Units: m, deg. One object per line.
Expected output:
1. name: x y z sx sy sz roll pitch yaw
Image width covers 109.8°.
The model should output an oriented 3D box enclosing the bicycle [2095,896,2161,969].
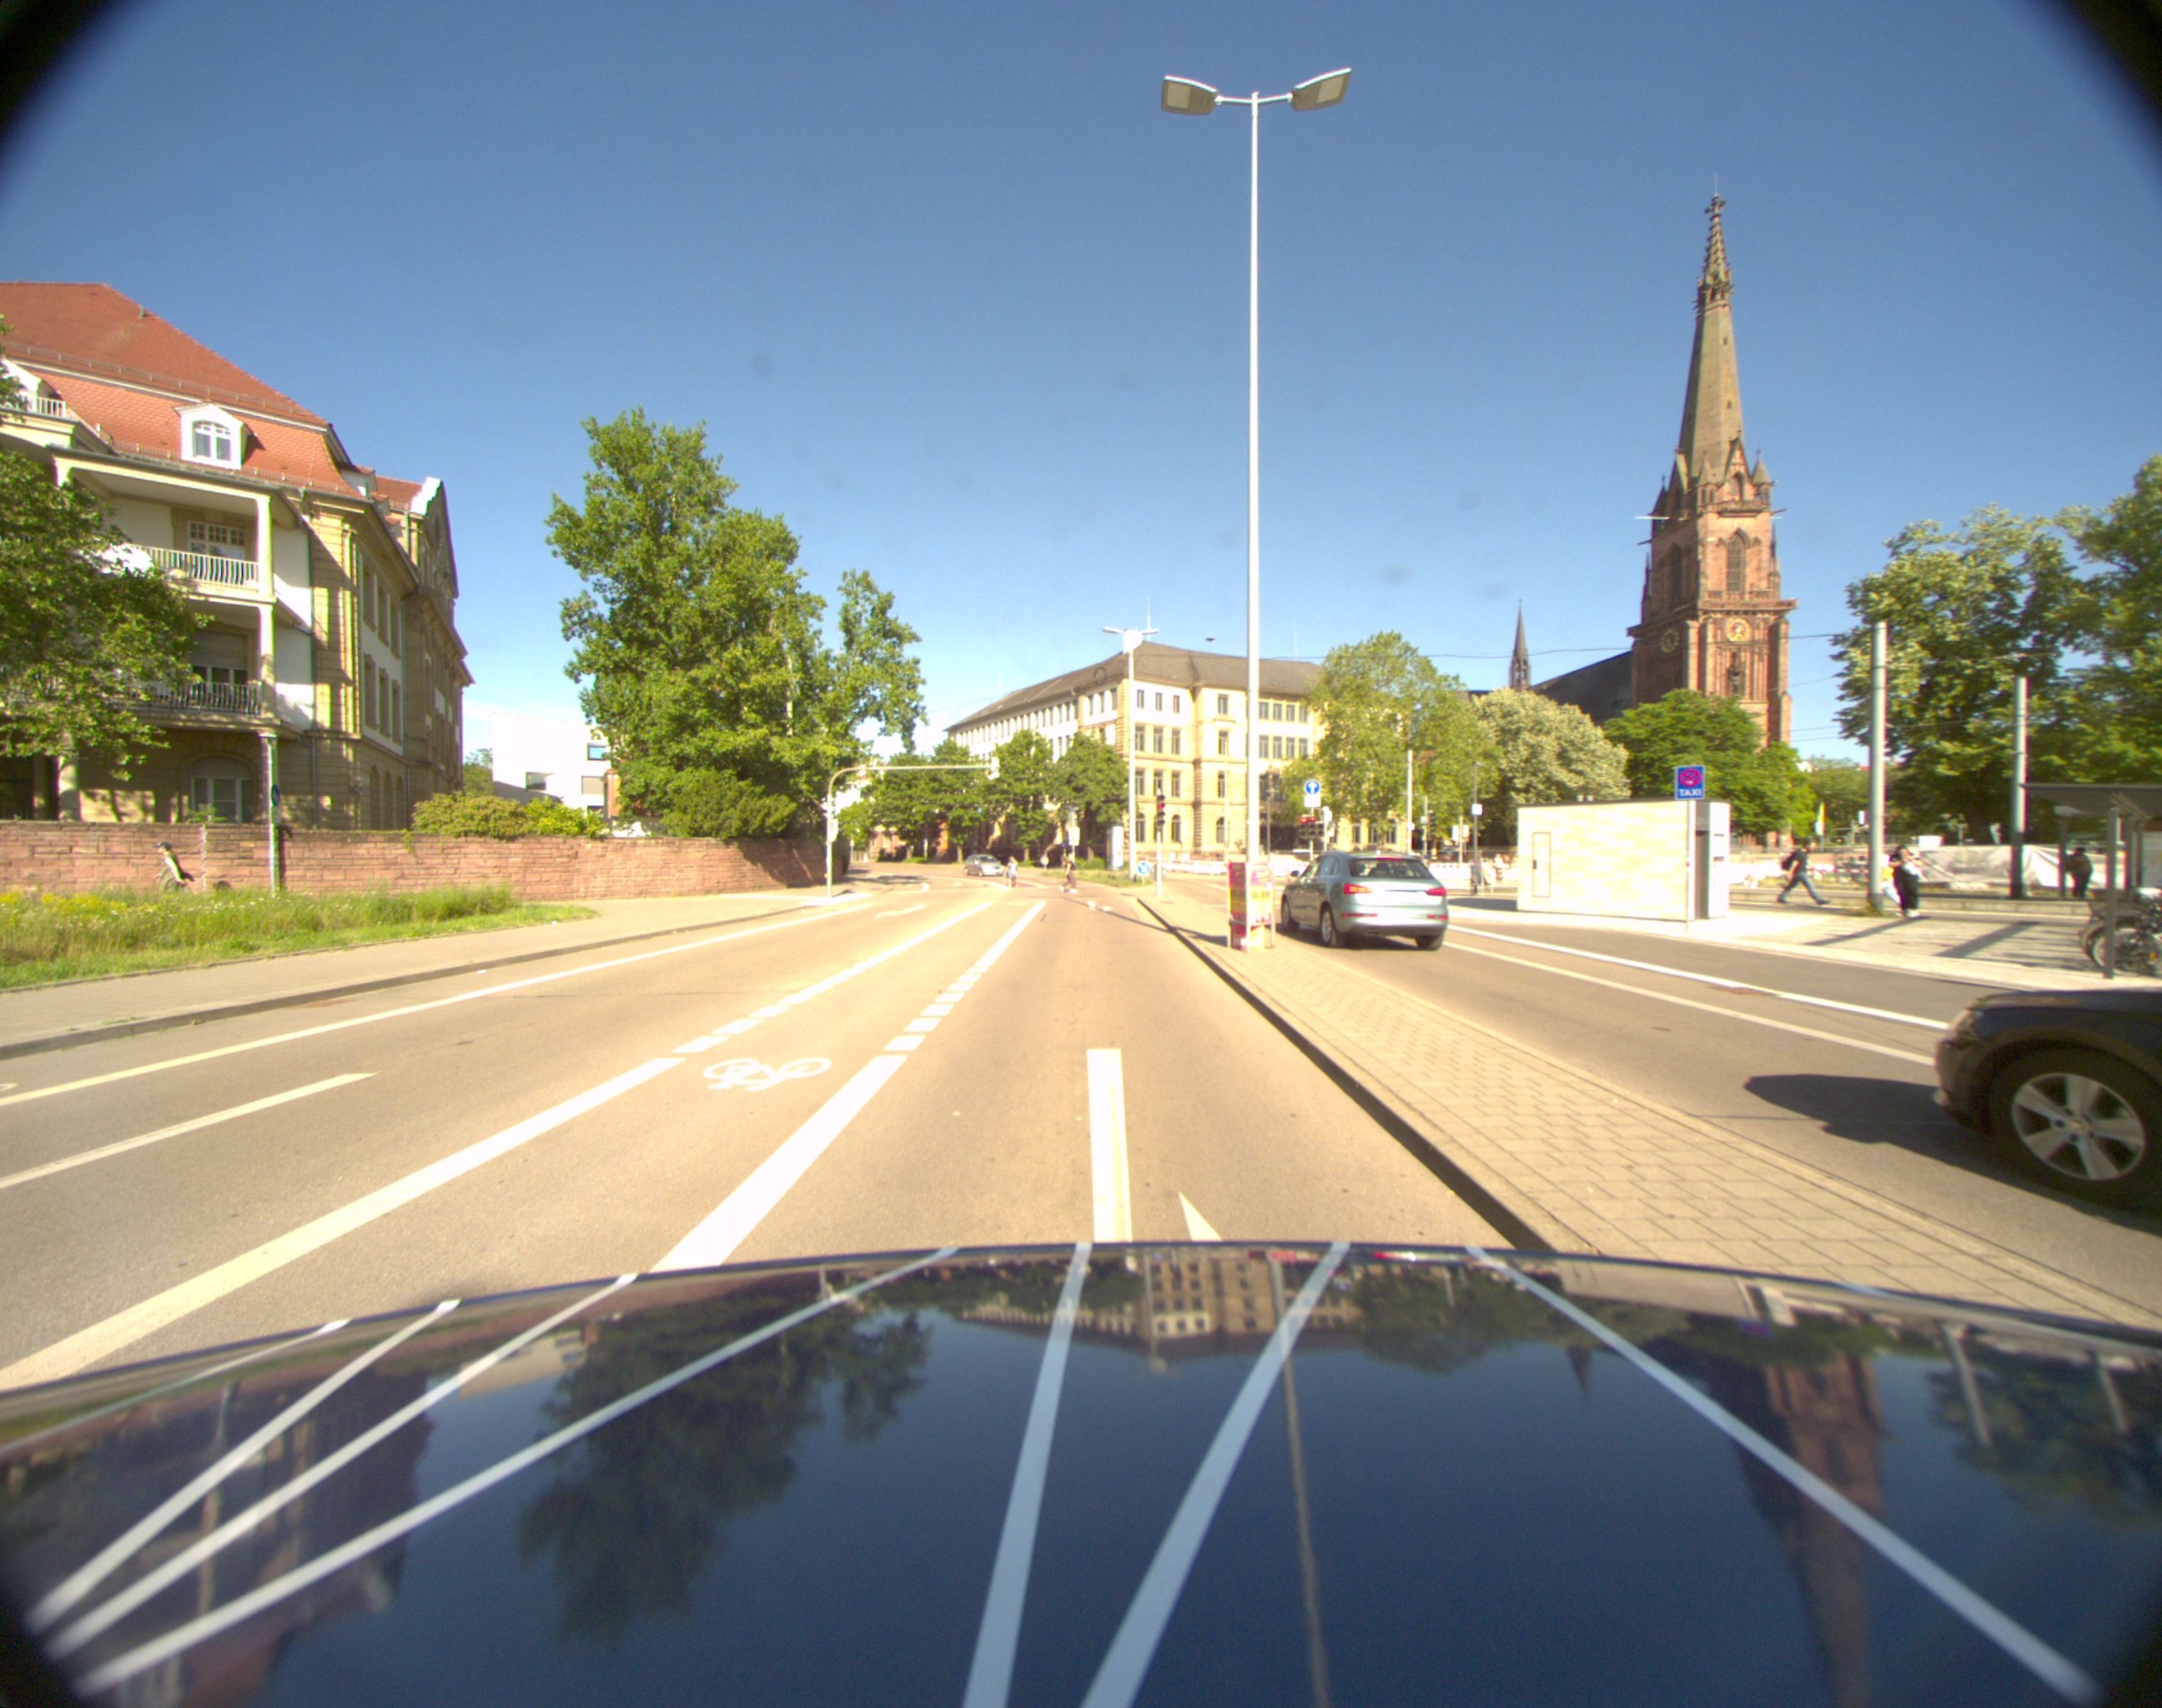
1. bicycle: 16.128 1.184 10.997 0.407 0.993 1.678 -3 3 -33

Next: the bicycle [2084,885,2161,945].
1. bicycle: 19.028 1.086 13.335 0.407 0.993 1.679 -3 2 -33

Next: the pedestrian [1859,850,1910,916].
1. pedestrian: 20.078 0.713 18.986 0.621 1.613 0.701 -1 1 -26

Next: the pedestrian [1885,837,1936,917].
1. pedestrian: 19.652 0.526 18.010 0.703 1.849 0.619 0 1 -26

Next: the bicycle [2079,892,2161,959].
1. bicycle: 17.184 1.143 12.010 0.407 0.993 1.679 -3 2 -33

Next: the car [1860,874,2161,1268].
1. car: 5.168 0.892 1.682 1.818 1.496 4.783 2 0 -2

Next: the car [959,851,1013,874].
1. car: -7.169 0.632 56.922 2.003 1.580 4.840 -3 1 -33

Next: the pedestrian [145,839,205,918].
1. pedestrian: -21.719 0.563 18.237 0.789 1.847 0.629 -1 1 -39

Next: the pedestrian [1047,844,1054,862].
1. pedestrian: -3.442 -0.084 86.292 0.557 2.002 0.645 -1 1 -37

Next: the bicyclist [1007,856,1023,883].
1. bicyclist: -3.439 0.790 39.668 0.741 1.363 0.626 -2 1 -6

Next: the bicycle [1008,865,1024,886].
1. bicycle: -3.421 1.123 39.687 0.741 0.989 2.305 -2 1 -6

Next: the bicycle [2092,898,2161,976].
1. bicycle: 15.030 1.168 10.206 0.407 0.993 1.678 -3 3 -33

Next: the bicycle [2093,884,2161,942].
1. bicycle: 19.513 1.066 13.577 0.407 0.993 1.679 -3 2 -33

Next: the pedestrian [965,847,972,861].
1. pedestrian: -15.093 -0.010 101.889 0.578 1.893 0.781 -1 1 -36

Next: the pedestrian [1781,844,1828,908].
1. pedestrian: 19.907 0.577 20.912 0.622 1.717 0.831 -1 1 -36

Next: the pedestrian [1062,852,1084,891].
1. pedestrian: -0.346 0.745 32.710 0.932 1.657 0.630 0 1 -2

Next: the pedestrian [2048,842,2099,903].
1. pedestrian: 30.588 0.556 23.435 0.619 1.849 0.703 0 1 11

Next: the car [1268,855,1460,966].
1. car: 4.709 0.838 13.363 1.792 1.572 4.257 1 0 1

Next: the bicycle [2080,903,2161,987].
1. bicycle: 13.985 1.190 9.549 0.407 0.993 1.678 -3 3 -33

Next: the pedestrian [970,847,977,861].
1. pedestrian: -14.484 0.020 102.368 0.578 1.893 0.849 -1 1 -36

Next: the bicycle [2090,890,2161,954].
1. bicycle: 17.964 1.139 12.457 0.407 0.993 1.679 -3 2 -33

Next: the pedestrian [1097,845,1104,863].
1. pedestrian: 1.971 -0.003 76.339 0.540 1.710 0.545 -1 1 -37
